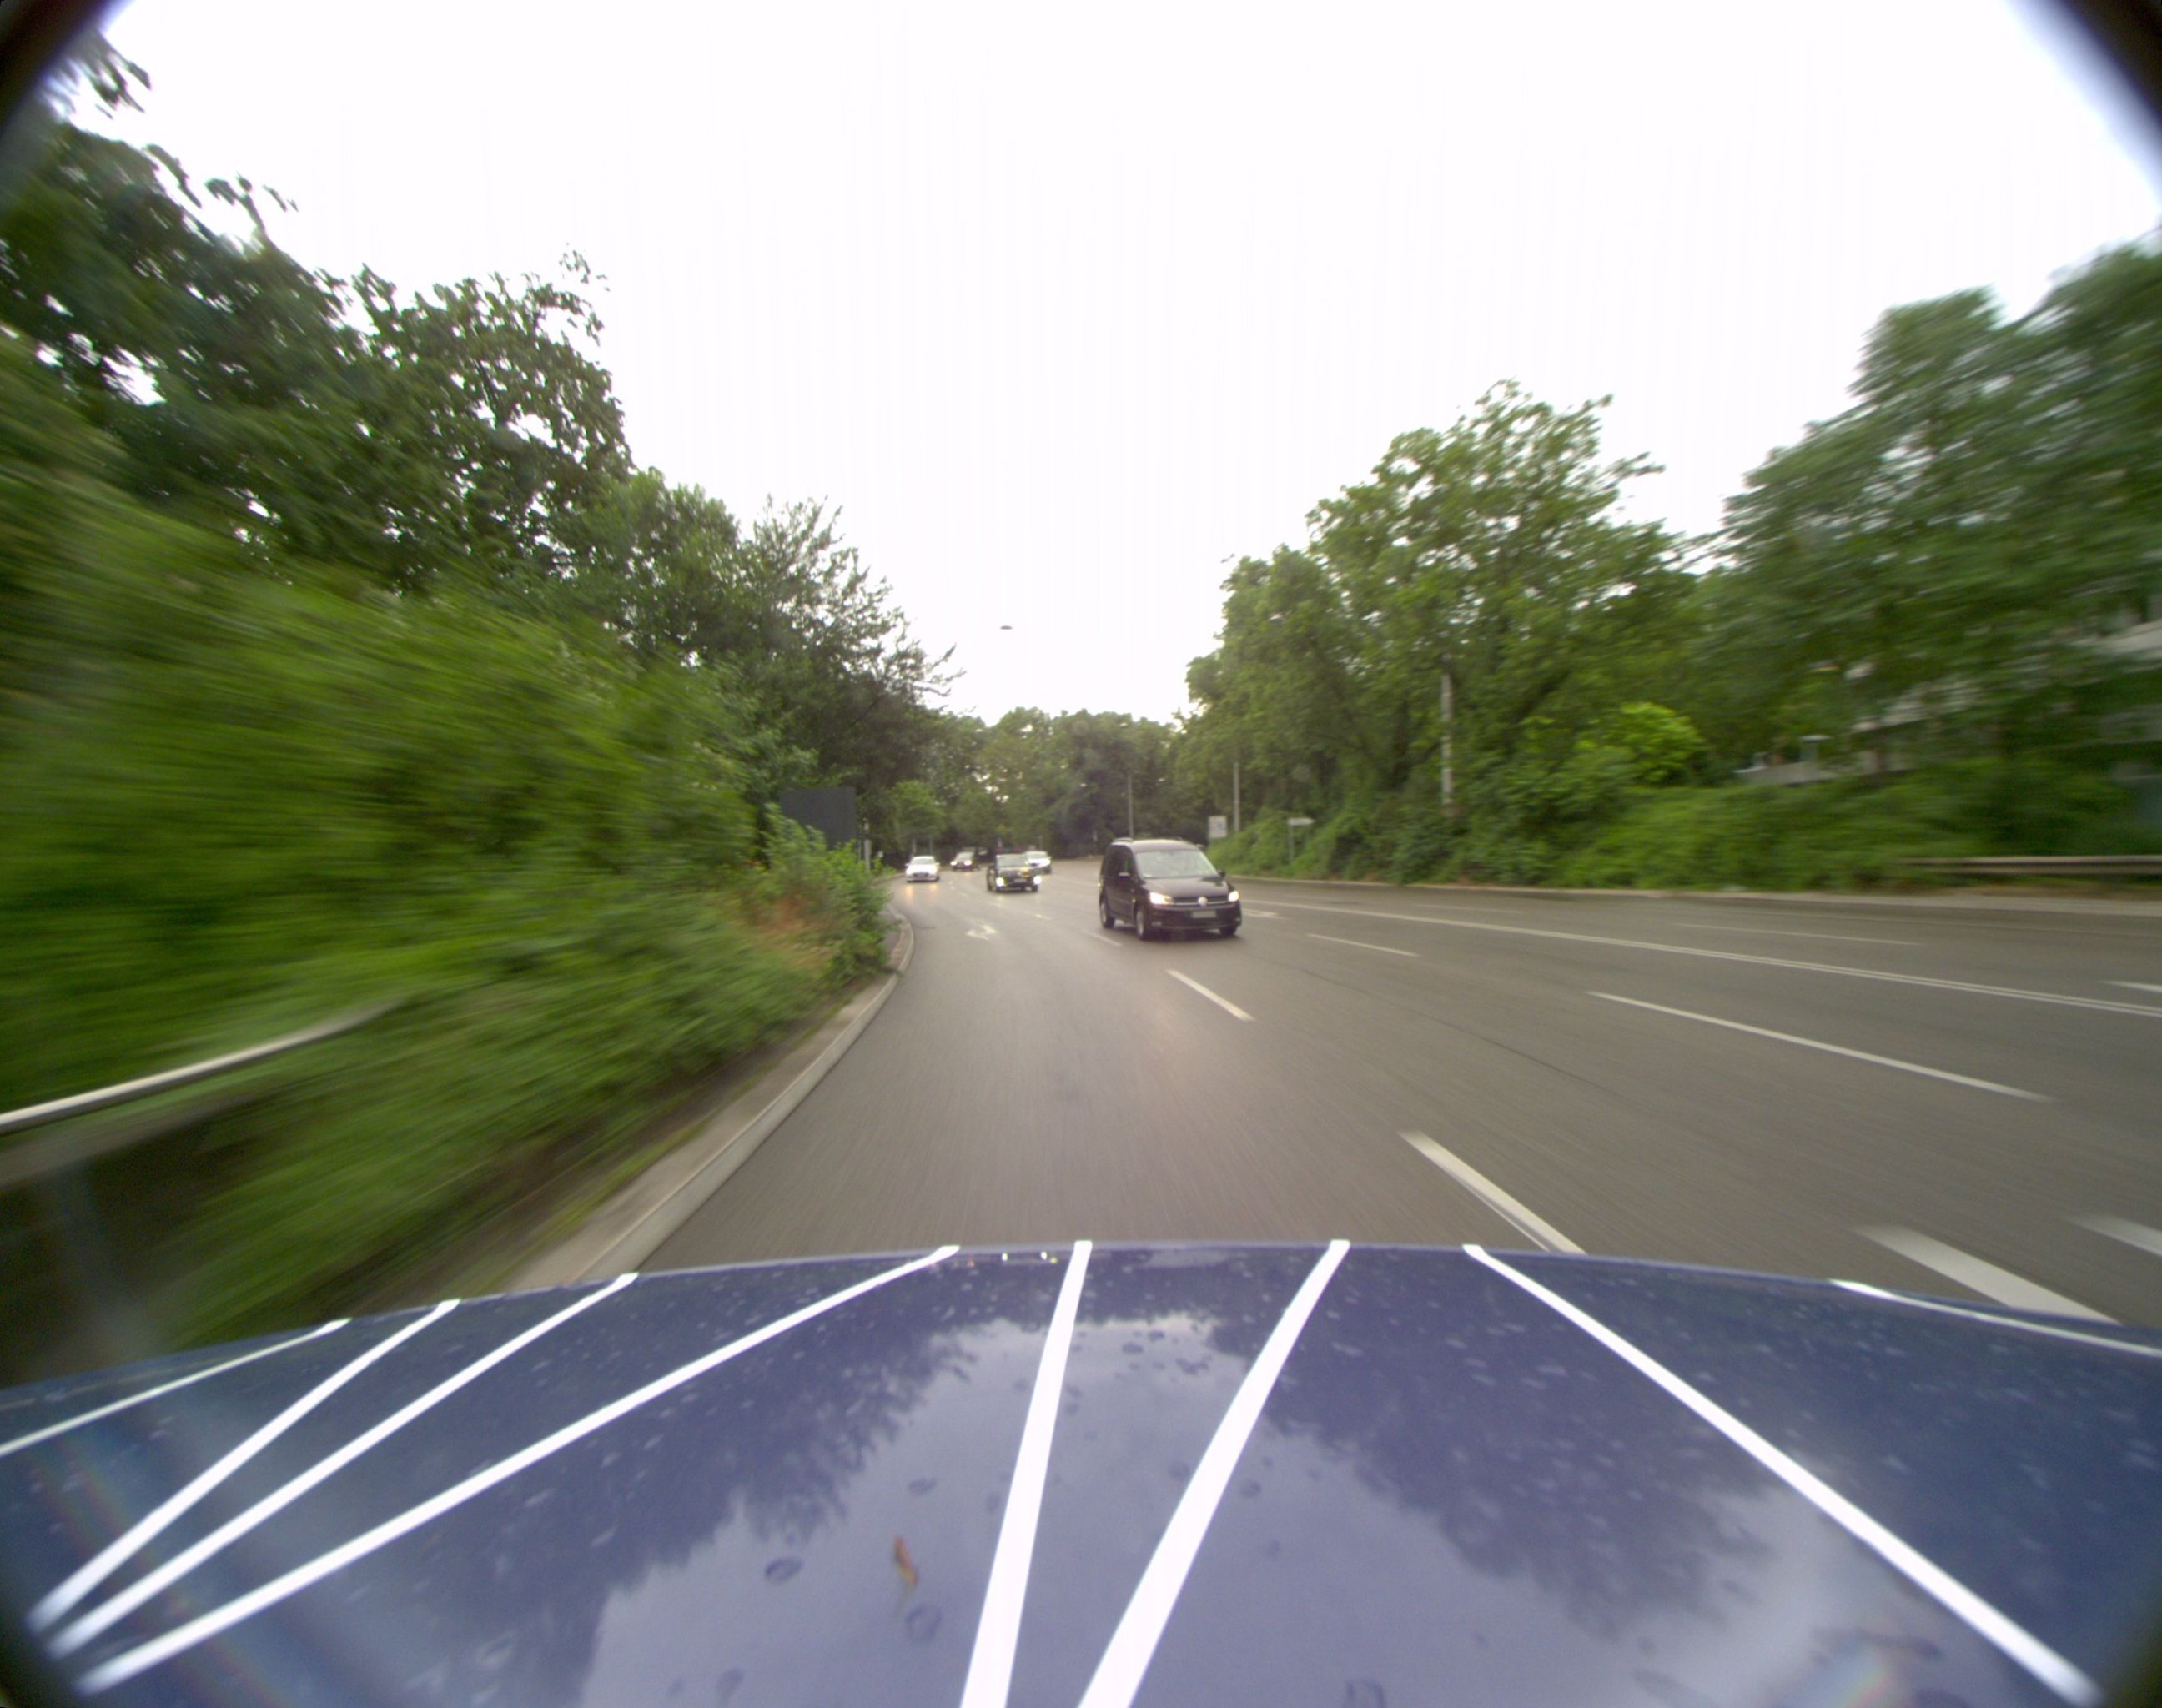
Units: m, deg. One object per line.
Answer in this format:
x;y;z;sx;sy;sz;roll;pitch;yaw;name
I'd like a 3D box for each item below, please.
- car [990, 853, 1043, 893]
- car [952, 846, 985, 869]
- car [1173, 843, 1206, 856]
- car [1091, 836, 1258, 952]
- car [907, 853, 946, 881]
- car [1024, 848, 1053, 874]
-2.873;0.758;33.012;1.932;1.532;3.996;-2;1;-9;car
-9.316;0.268;63.147;1.998;1.735;4.000;-1;1;3;car
14.102;-0.607;98.776;2.208;1.533;4.512;0;2;39;car
1.584;0.658;14.507;1.797;1.789;4.120;-3;0;-13;car
-9.194;0.738;45.481;1.795;1.445;3.997;-1;1;-4;car
-3.163;0.448;56.048;1.999;1.735;4.652;-1;1;-4;car
